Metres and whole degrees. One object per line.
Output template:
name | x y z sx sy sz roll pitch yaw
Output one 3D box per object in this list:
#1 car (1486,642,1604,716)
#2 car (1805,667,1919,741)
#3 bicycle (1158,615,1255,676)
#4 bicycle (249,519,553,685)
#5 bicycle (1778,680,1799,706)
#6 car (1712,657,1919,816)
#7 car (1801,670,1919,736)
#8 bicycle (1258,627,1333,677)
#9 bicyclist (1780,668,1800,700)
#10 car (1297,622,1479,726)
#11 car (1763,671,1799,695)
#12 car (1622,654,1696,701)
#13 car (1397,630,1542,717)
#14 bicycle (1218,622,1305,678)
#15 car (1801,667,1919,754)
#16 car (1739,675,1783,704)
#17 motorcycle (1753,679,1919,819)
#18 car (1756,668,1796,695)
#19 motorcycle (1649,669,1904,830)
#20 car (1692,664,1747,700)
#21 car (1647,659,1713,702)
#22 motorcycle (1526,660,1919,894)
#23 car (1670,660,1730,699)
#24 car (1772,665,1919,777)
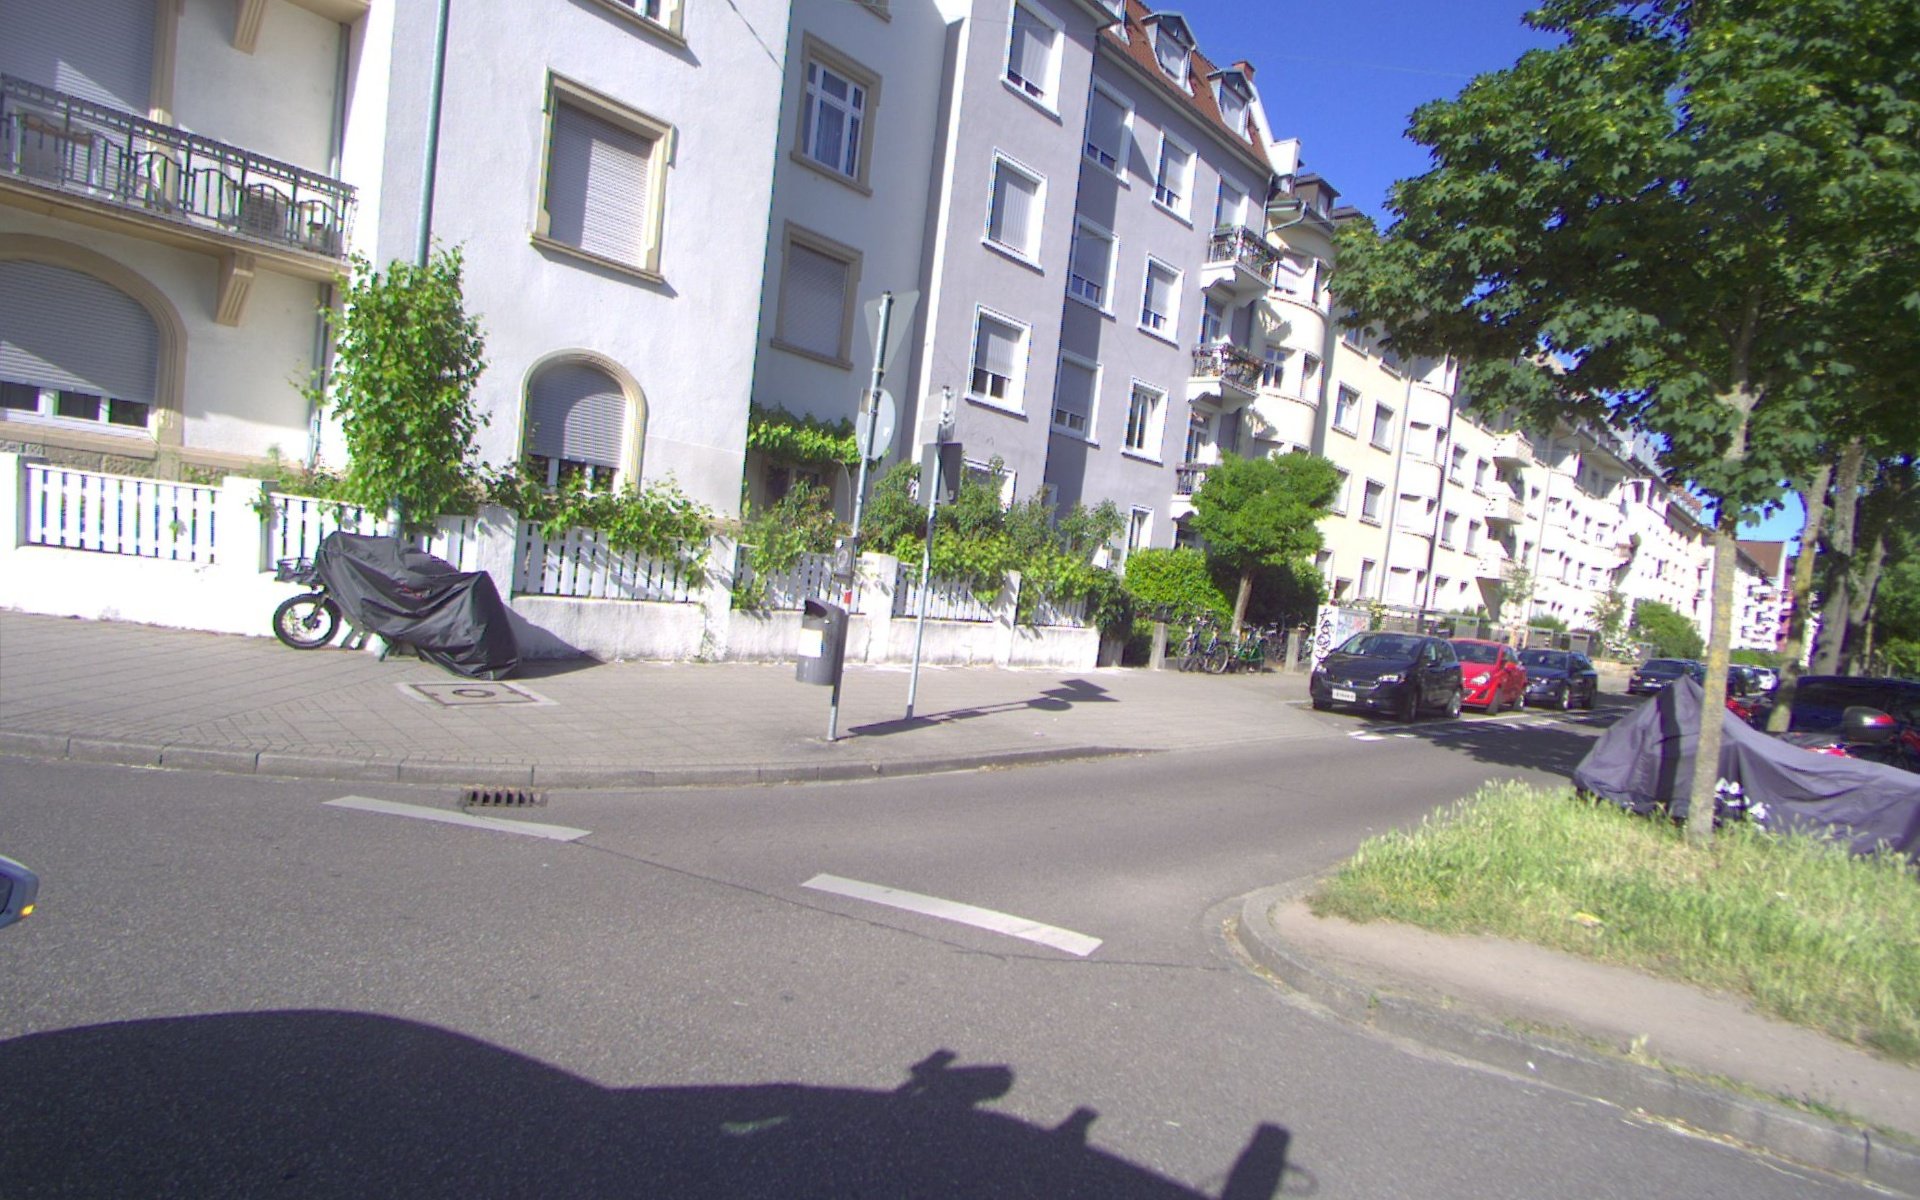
car | 14.777 1.961 25.337 1.728 1.464 3.833 10 3 41
car | 26.042 2.956 27.504 1.860 1.612 3.978 6 2 -21
bicycle | 4.889 0.916 19.850 2.241 1.073 0.674 4 3 -44
bicycle | -5.069 0.015 9.237 2.245 1.172 0.766 7 2 -3
bicycle | 37.527 4.215 45.564 0.508 1.079 1.898 9 3 43
car | 12.521 1.873 13.139 1.776 1.662 3.859 6 2 -18
car | 30.404 3.436 32.846 1.860 1.612 3.978 6 2 -21
bicycle | 8.171 1.267 24.445 2.241 1.073 0.674 4 3 -44
bicyclist | 37.546 3.781 45.505 0.500 1.385 0.698 9 4 43
car | 7.680 1.280 17.870 1.729 1.464 3.934 7 1 41
car | 59.896 6.039 73.394 1.728 1.477 3.833 10 3 41
car | 26.194 2.884 37.646 1.728 1.427 3.833 9 3 41
car | 10.956 1.551 21.515 1.728 1.464 3.833 10 3 41
bicycle | 6.519 1.099 21.690 2.241 1.073 0.674 4 3 -44
car | 21.846 2.629 22.612 1.860 1.612 3.978 6 2 -21
car | 48.534 5.384 60.938 1.728 1.427 3.833 9 3 41
motorcycle | 10.502 1.710 11.359 2.212 1.284 1.045 9 3 44
car | 53.121 5.288 65.500 1.728 1.477 3.833 10 3 41
motorcycle | 8.480 1.488 10.509 1.869 1.253 0.884 9 4 44
car | 37.475 4.029 49.615 1.728 1.427 3.833 9 3 41
car | 29.832 3.315 41.632 1.728 1.427 3.833 9 3 41
motorcycle | 6.285 1.322 8.097 2.742 1.284 1.121 8 3 39
car | 33.507 3.596 45.537 1.728 1.427 3.833 9 3 41
car | 16.999 2.255 17.544 1.683 1.612 3.978 6 2 -21
